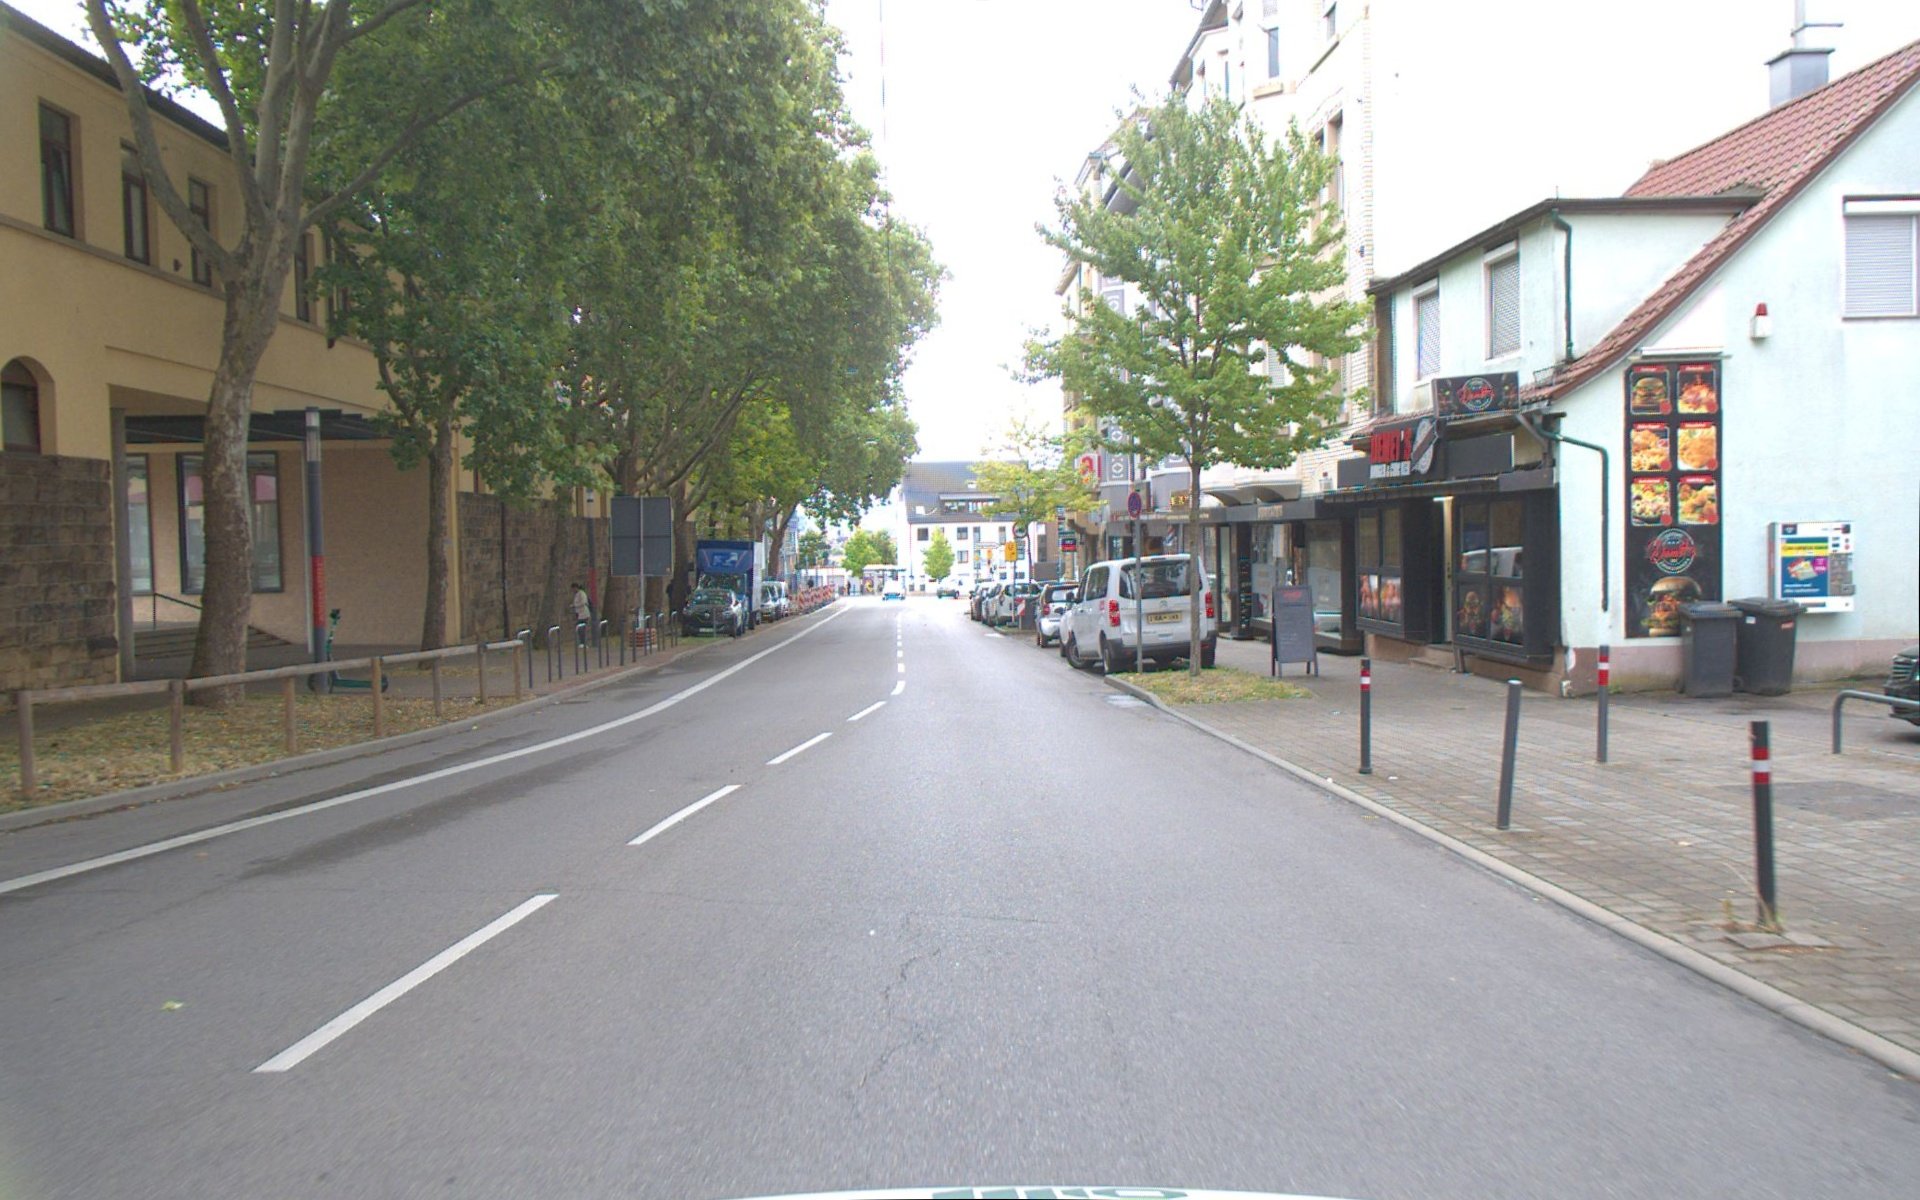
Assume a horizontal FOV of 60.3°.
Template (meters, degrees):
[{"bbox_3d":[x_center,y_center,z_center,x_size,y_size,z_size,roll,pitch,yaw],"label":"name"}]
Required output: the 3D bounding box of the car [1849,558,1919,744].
[{"bbox_3d":[10.167,0.361,13.541,4.800,1.495,1.930,-1,0,19],"label":"car"}]

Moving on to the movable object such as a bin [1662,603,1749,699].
[{"bbox_3d":[8.532,0.570,18.942,0.684,1.059,0.645,-1,0,-1],"label":"movable object such as a bin"}]

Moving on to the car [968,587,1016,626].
[{"bbox_3d":[1.319,0.252,69.819,1.636,1.574,3.753,-1,0,-5],"label":"car"}]

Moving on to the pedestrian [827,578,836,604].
[{"bbox_3d":[-9.903,-0.704,127.772,0.620,2.049,0.784,-1,0,-1],"label":"pedestrian"}]

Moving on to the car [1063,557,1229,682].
[{"bbox_3d":[3.159,0.293,29.136,1.955,1.969,4.914,-1,0,-5],"label":"car"}]

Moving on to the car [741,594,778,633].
[{"bbox_3d":[-9.195,0.600,76.018,1.503,1.667,3.715,-1,0,-5],"label":"car"}]

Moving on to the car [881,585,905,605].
[{"bbox_3d":[-5.284,-0.419,130.305,1.826,1.515,3.878,-1,0,-2],"label":"car"}]

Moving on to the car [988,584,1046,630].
[{"bbox_3d":[1.995,0.227,58.894,1.636,1.574,3.753,-1,0,-5],"label":"car"}]

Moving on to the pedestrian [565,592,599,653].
[{"bbox_3d":[-9.888,0.571,43.235,0.666,1.563,0.604,-1,0,-34],"label":"pedestrian"}]

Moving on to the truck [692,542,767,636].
[{"bbox_3d":[-8.931,-0.447,64.624,2.186,3.405,7.445,-1,0,-3],"label":"truck"}]

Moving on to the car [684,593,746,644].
[{"bbox_3d":[-8.145,0.590,55.268,1.799,1.605,3.753,-1,0,-5],"label":"car"}]

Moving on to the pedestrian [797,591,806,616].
[{"bbox_3d":[-12.853,0.283,134.317,0.620,2.029,0.784,-1,0,-1],"label":"pedestrian"}]

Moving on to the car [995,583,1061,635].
[{"bbox_3d":[2.117,0.254,52.528,1.636,1.574,3.753,-1,0,-5],"label":"car"}]

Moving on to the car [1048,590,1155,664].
[{"bbox_3d":[2.947,0.529,35.051,1.636,1.457,3.753,-1,0,-5],"label":"car"}]

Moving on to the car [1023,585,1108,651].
[{"bbox_3d":[2.651,0.418,42.312,1.636,1.574,3.753,-1,0,-5],"label":"car"}]

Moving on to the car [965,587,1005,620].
[{"bbox_3d":[1.228,0.165,82.770,1.636,1.574,3.753,-1,0,-5],"label":"car"}]

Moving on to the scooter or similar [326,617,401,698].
[{"bbox_3d":[-9.206,0.876,25.555,1.010,1.205,0.490,-1,0,-12],"label":"scooter or similar"}]

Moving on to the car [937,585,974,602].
[{"bbox_3d":[-0.363,-0.601,149.479,1.644,1.449,4.171,-1,1,26],"label":"car"}]

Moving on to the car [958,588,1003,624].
[{"bbox_3d":[0.897,0.249,74.881,1.636,1.574,3.753,-1,0,-5],"label":"car"}]

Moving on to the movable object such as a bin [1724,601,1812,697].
[{"bbox_3d":[9.268,0.555,18.989,0.684,1.059,0.645,-1,0,-1],"label":"movable object such as a bin"}]
